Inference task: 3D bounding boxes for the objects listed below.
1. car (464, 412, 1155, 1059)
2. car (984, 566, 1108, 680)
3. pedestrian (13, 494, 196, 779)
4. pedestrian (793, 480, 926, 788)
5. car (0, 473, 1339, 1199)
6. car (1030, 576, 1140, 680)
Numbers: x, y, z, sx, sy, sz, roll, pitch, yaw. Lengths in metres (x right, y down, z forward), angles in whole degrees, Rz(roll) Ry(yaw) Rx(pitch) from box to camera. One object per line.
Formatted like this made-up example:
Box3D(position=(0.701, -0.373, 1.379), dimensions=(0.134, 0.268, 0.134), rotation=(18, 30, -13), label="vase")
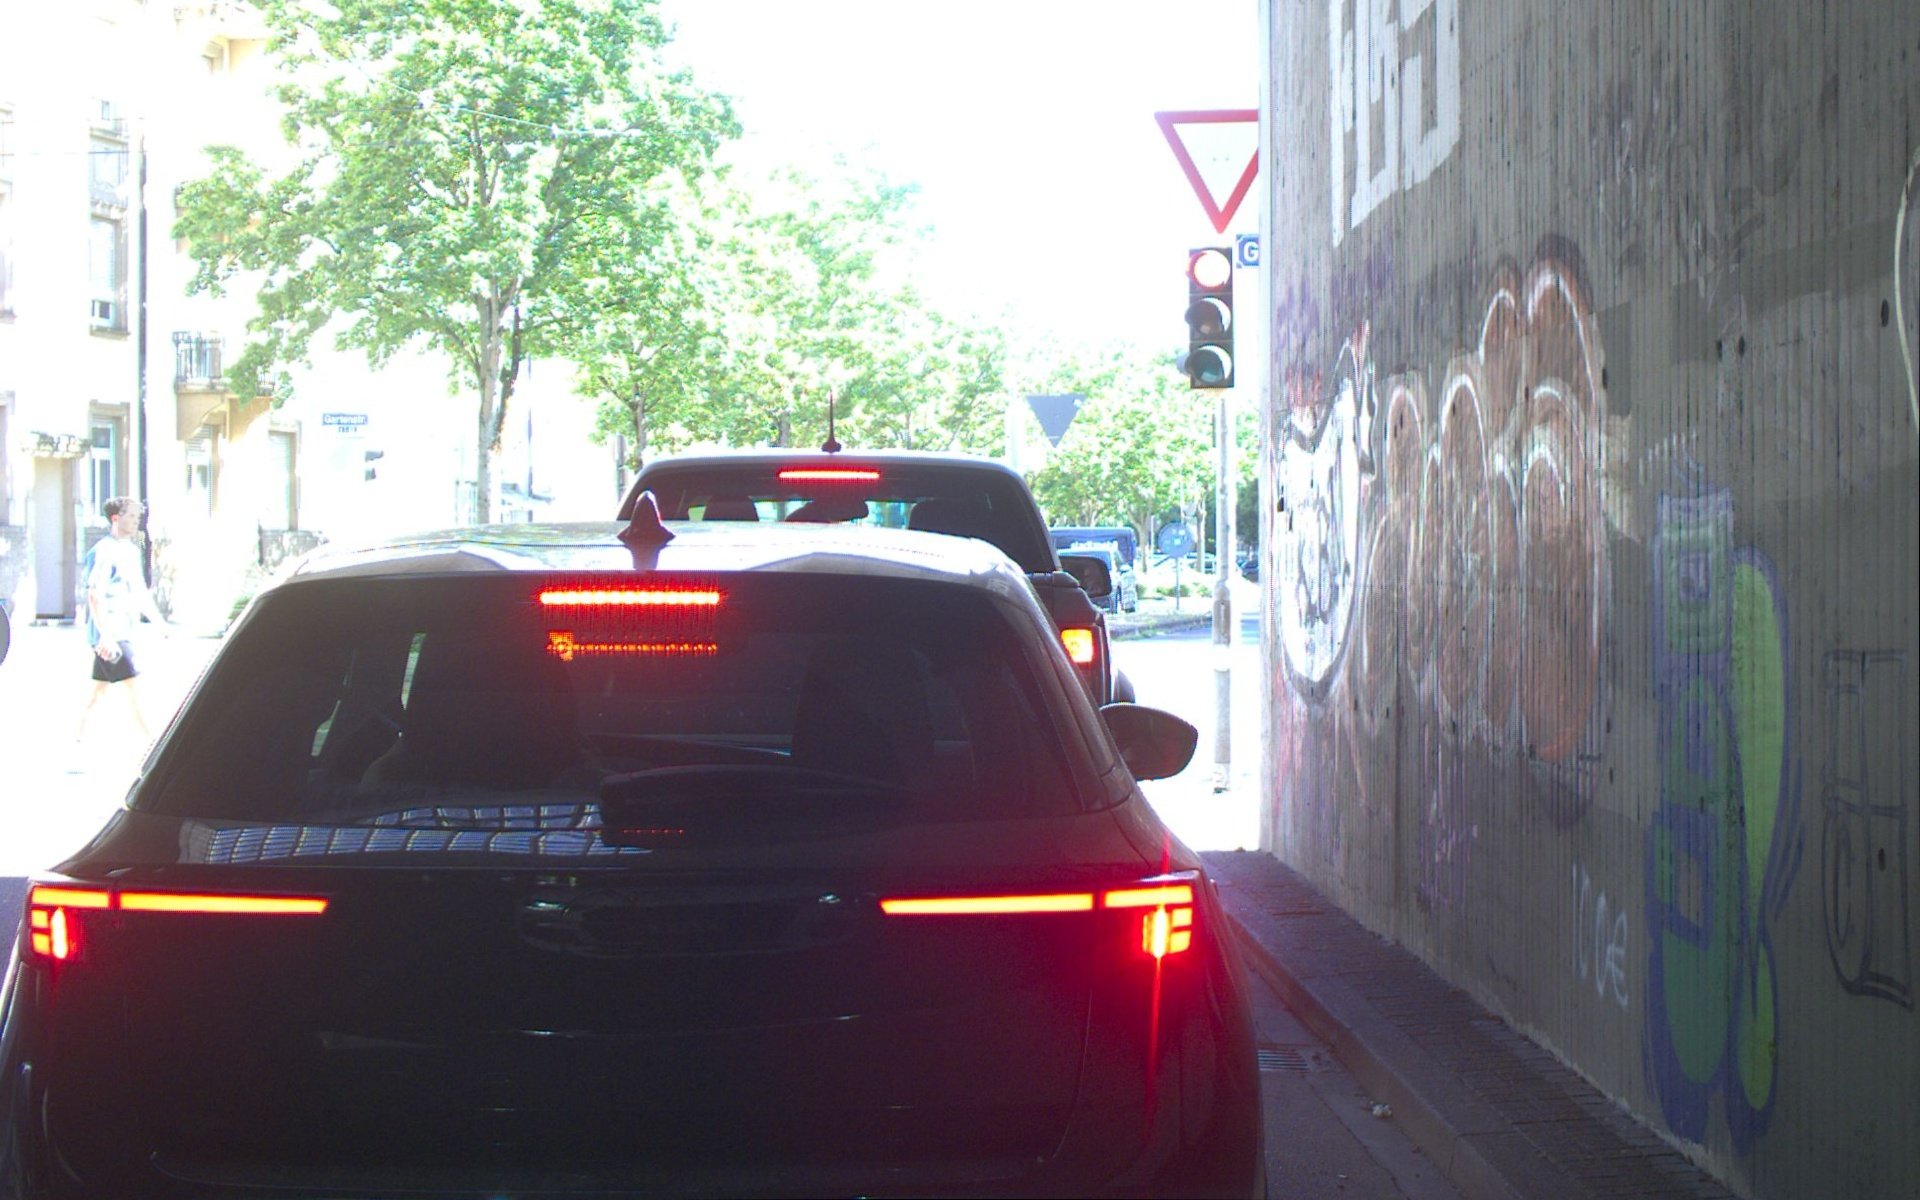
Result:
Box3D(position=(-0.458, 0.355, 12.001), dimensions=(1.993, 1.865, 4.000), rotation=(-1, 1, -1), label="car")
Box3D(position=(1.593, 0.382, 62.230), dimensions=(1.994, 1.963, 4.163), rotation=(1, 1, 5), label="car")
Box3D(position=(-5.396, 0.223, 21.736), dimensions=(0.929, 1.756, 0.794), rotation=(1, 0, 1), label="pedestrian")
Box3D(position=(-0.571, 0.186, 19.833), dimensions=(0.731, 1.728, 0.874), rotation=(1, 0, -1), label="pedestrian")
Box3D(position=(-0.472, 0.572, 6.029), dimensions=(1.764, 1.566, 4.001), rotation=(1, 2, -1), label="car")
Box3D(position=(2.523, 0.521, 68.443), dimensions=(1.994, 1.963, 4.163), rotation=(1, 1, 5), label="car")
